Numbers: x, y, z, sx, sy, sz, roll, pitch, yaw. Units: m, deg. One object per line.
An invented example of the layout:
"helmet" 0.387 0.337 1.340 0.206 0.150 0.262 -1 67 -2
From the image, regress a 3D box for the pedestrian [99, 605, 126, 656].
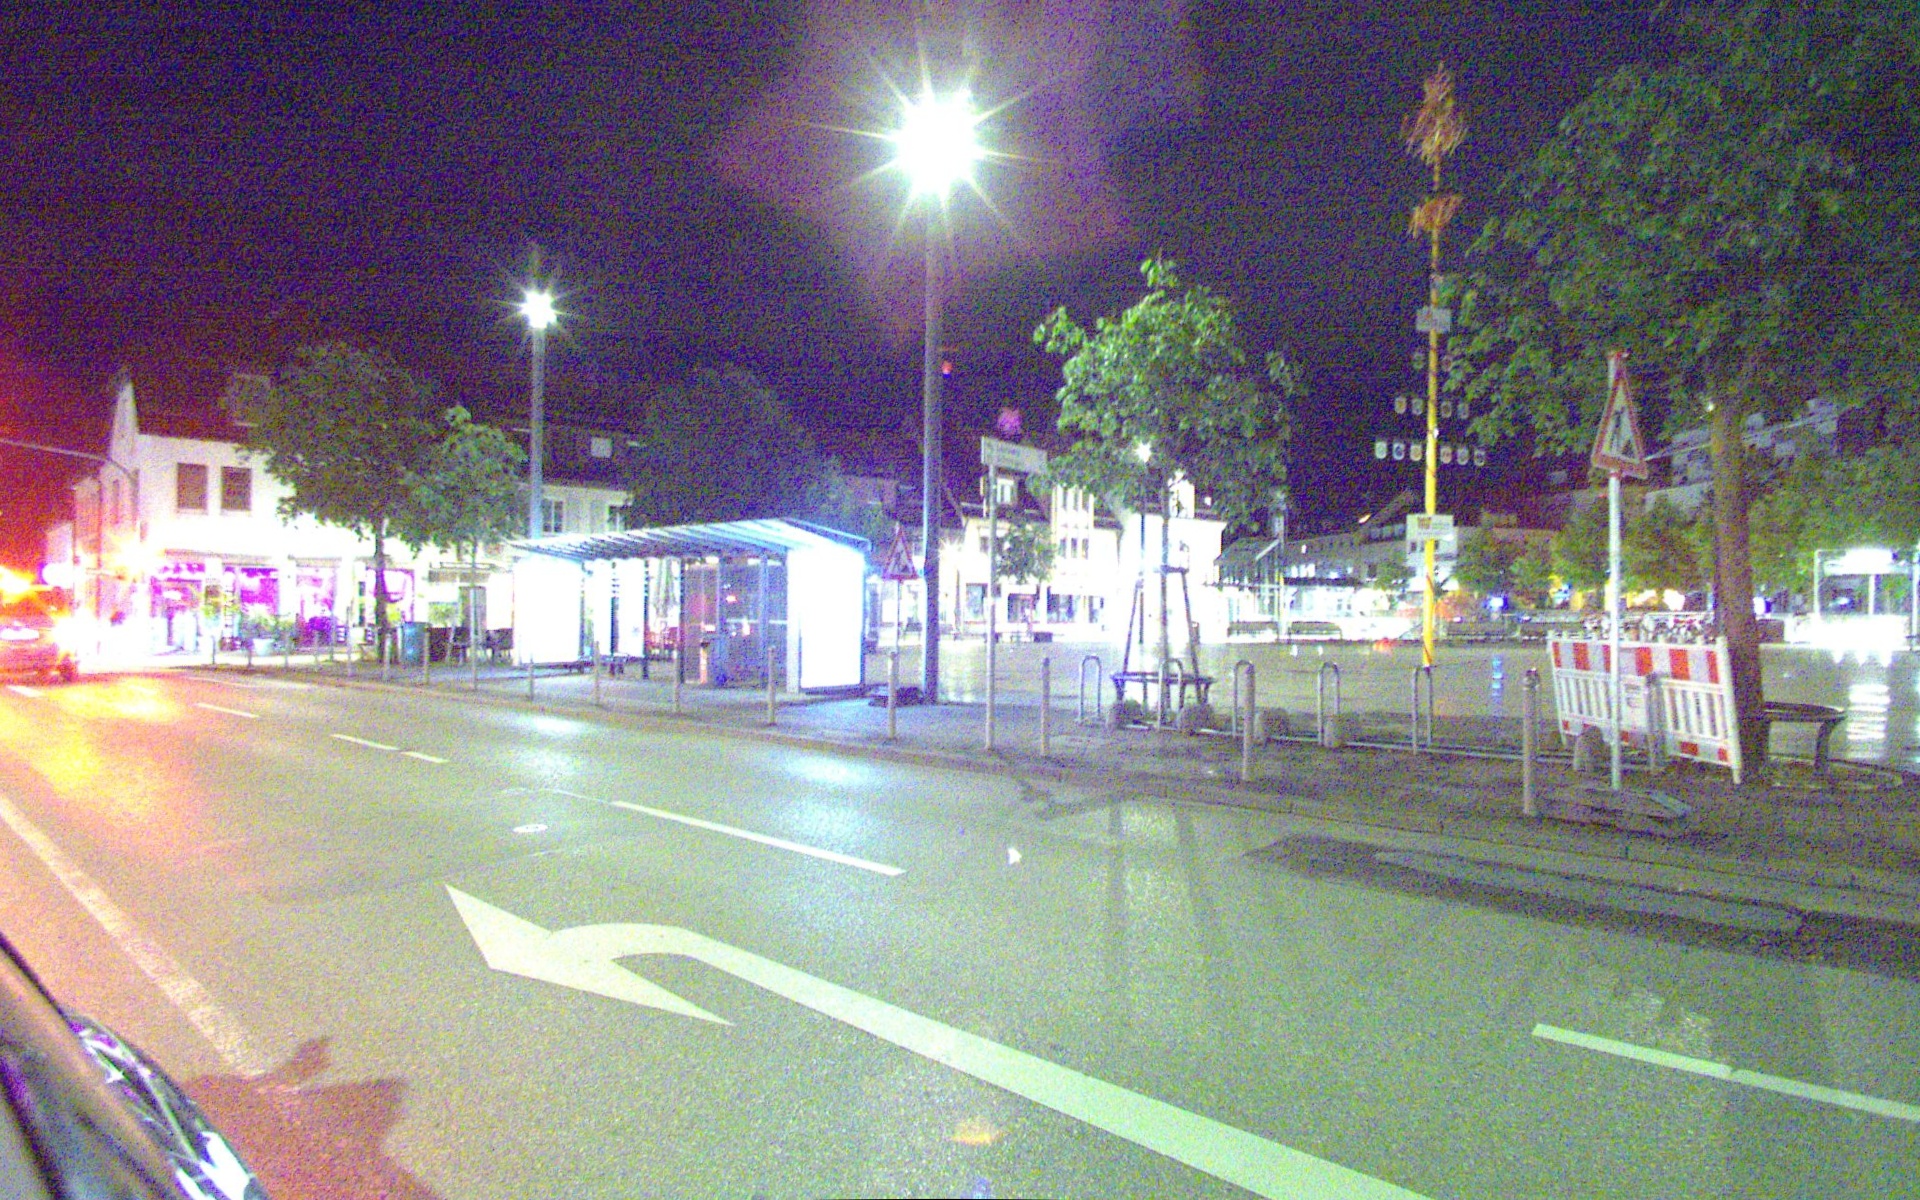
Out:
"pedestrian" -27.408 0.979 32.732 0.637 1.640 0.584 -1 0 -39

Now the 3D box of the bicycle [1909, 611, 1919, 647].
"bicycle" 26.399 0.764 26.980 1.525 0.965 0.476 -1 0 25

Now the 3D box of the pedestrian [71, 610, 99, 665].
"pedestrian" -26.584 1.139 30.746 0.637 1.640 0.584 -1 0 -43

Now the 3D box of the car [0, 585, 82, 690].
"car" -19.085 0.703 20.035 4.910 1.886 1.946 -1 -1 42
